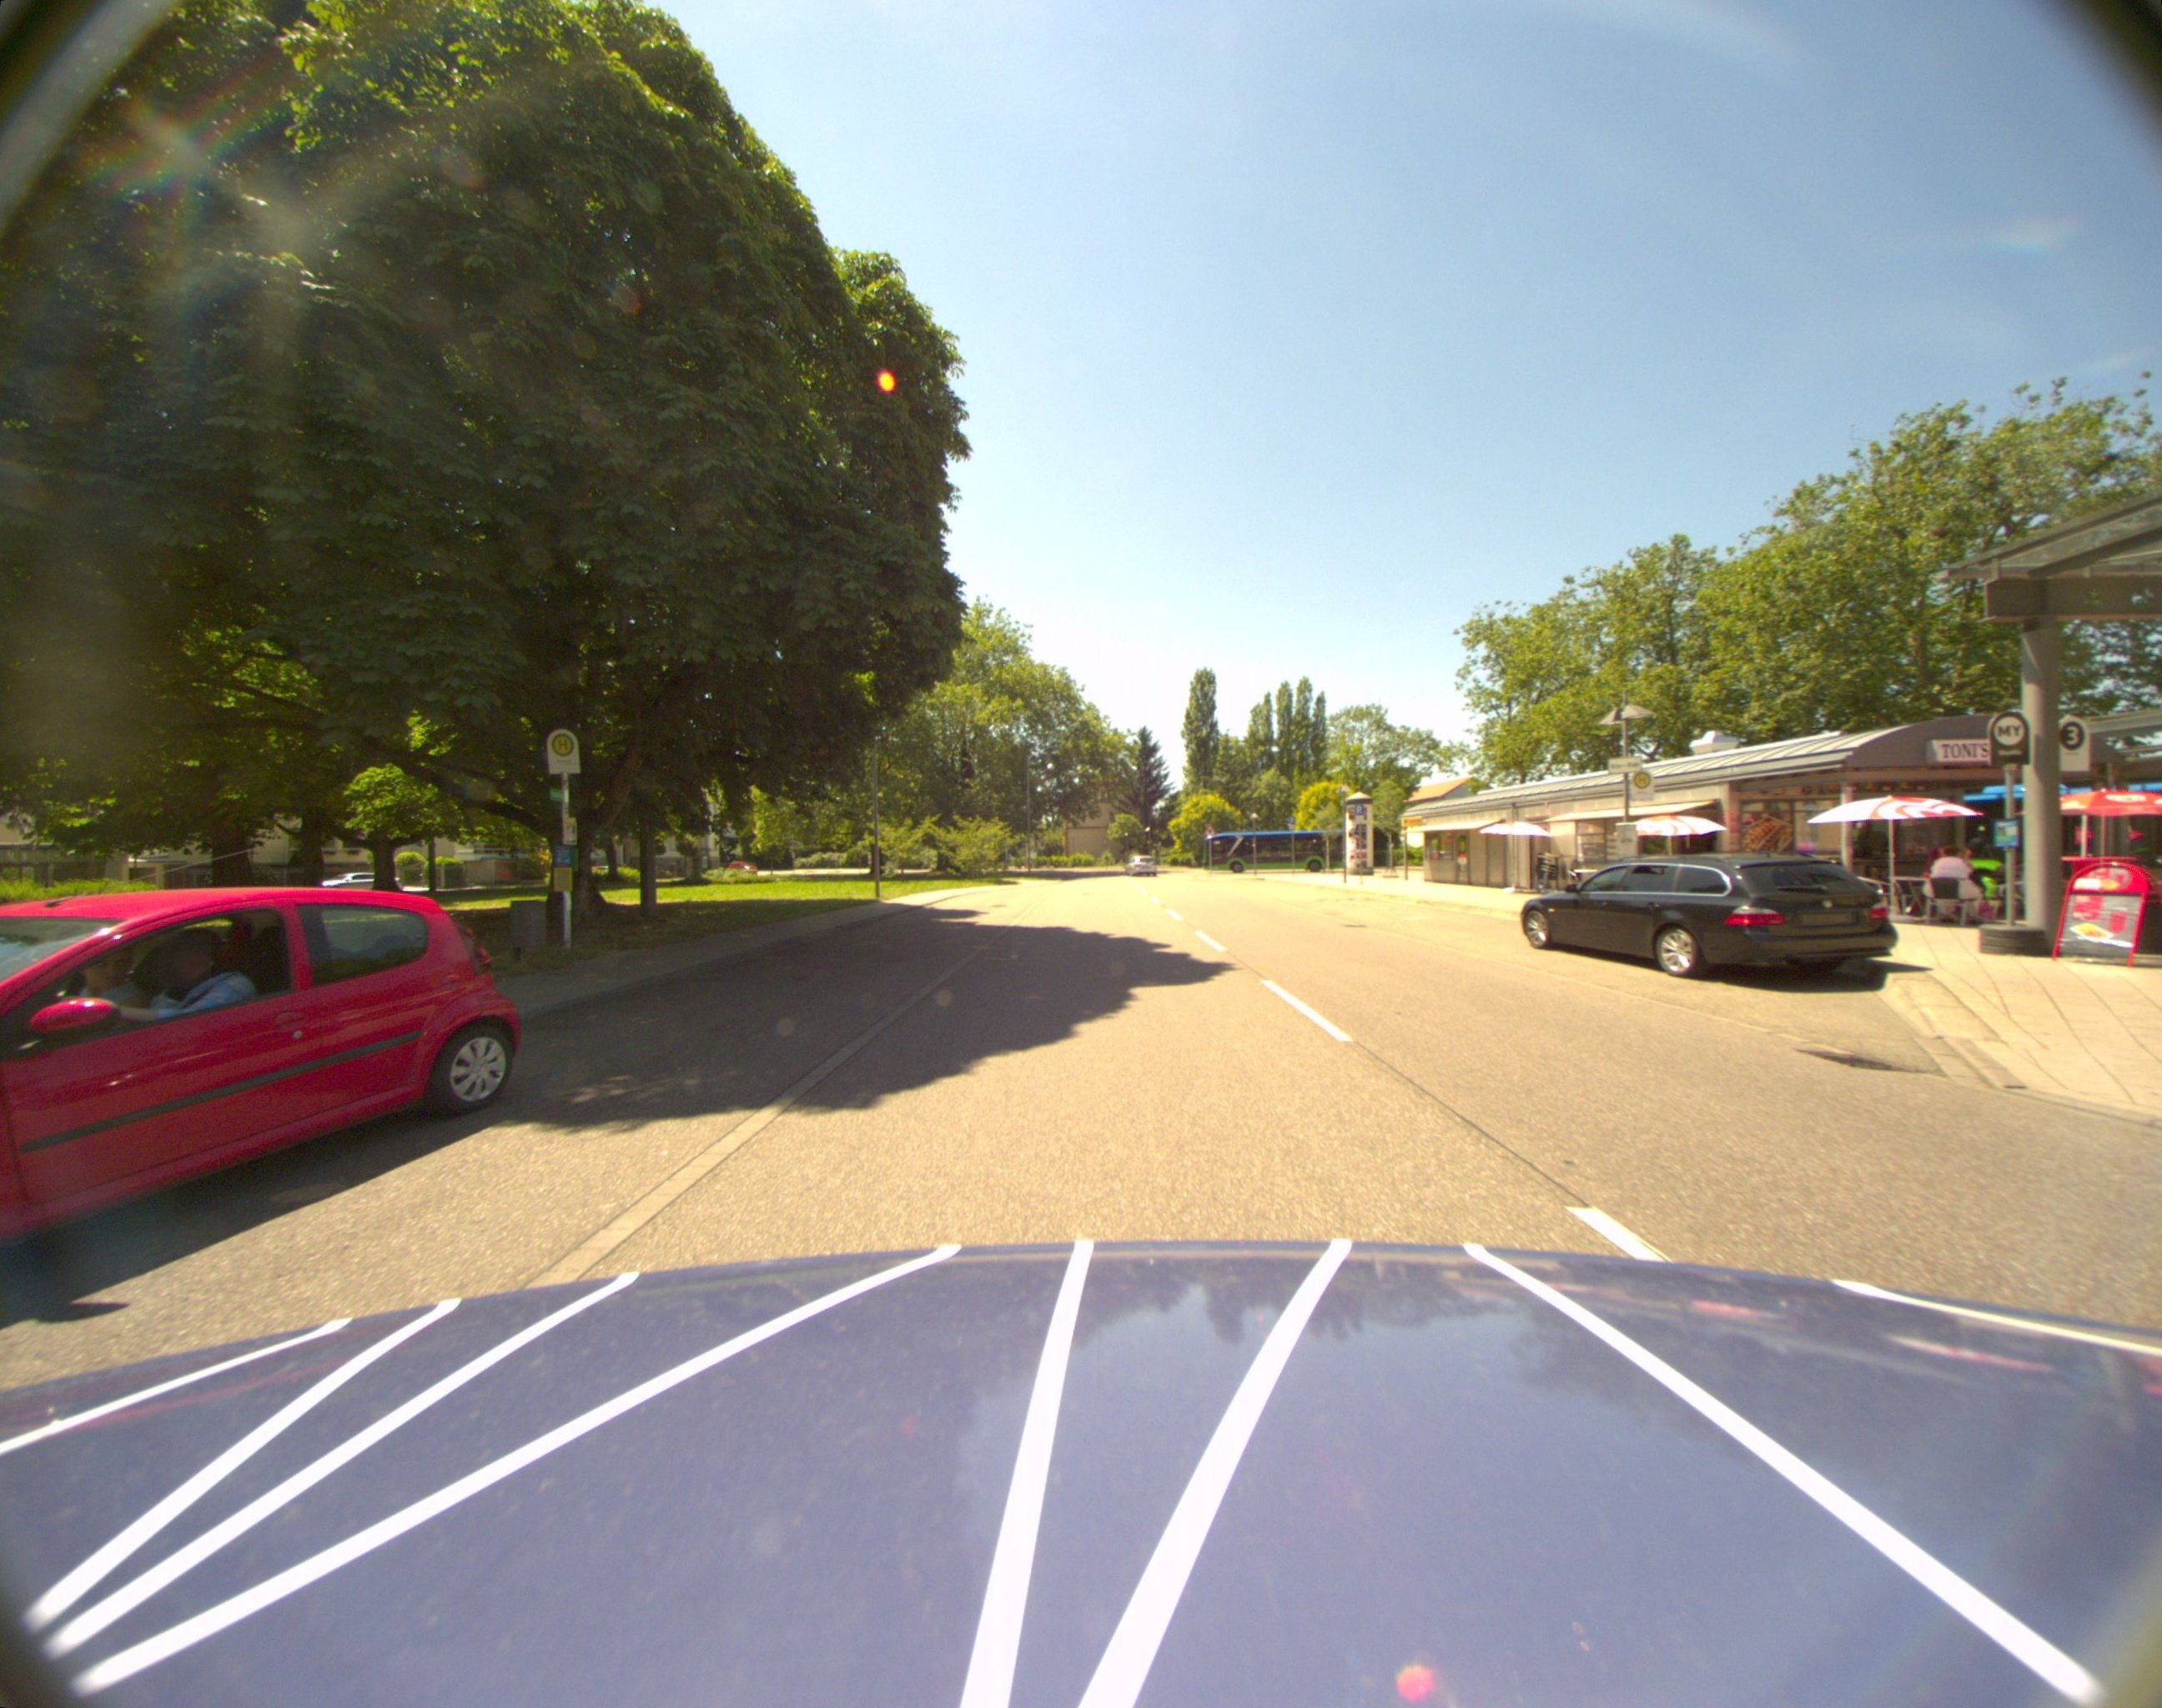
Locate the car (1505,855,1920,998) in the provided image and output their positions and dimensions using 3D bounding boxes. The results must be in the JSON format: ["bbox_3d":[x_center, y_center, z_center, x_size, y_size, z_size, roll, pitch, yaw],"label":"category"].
[{"bbox_3d":[8.048,0.772,10.471,1.723,1.470,4.785,-1,0,0],"label":"car"}]

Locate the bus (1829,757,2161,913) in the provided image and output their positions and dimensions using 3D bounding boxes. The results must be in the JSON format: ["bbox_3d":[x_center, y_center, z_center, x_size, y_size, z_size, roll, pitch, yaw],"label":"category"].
[{"bbox_3d":[23.683,-0.408,16.757,2.972,3.214,11.848,-1,0,2],"label":"bus"}]

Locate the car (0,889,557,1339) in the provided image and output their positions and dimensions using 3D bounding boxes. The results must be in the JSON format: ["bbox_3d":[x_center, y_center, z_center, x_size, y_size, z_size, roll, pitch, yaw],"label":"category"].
[{"bbox_3d":[-4.657,1.001,3.456,1.722,1.470,3.707,-1,0,6],"label":"car"}]

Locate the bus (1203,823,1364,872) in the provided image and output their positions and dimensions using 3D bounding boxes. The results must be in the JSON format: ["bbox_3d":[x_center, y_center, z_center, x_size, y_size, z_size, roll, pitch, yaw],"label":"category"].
[{"bbox_3d":[15.991,-0.451,60.501,12.195,3.506,2.172,-1,1,20],"label":"bus"}]

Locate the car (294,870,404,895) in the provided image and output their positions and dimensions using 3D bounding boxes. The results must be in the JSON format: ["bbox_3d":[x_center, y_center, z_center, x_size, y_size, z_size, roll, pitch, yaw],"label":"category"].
[{"bbox_3d":[-45.942,1.776,47.843,1.667,1.280,4.720,0,1,16],"label":"car"}]

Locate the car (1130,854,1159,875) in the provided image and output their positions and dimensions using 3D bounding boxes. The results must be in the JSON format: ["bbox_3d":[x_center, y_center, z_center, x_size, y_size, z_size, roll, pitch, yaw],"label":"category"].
[{"bbox_3d":[4.501,0.751,54.216,1.819,1.435,4.159,1,0,1],"label":"car"}]
